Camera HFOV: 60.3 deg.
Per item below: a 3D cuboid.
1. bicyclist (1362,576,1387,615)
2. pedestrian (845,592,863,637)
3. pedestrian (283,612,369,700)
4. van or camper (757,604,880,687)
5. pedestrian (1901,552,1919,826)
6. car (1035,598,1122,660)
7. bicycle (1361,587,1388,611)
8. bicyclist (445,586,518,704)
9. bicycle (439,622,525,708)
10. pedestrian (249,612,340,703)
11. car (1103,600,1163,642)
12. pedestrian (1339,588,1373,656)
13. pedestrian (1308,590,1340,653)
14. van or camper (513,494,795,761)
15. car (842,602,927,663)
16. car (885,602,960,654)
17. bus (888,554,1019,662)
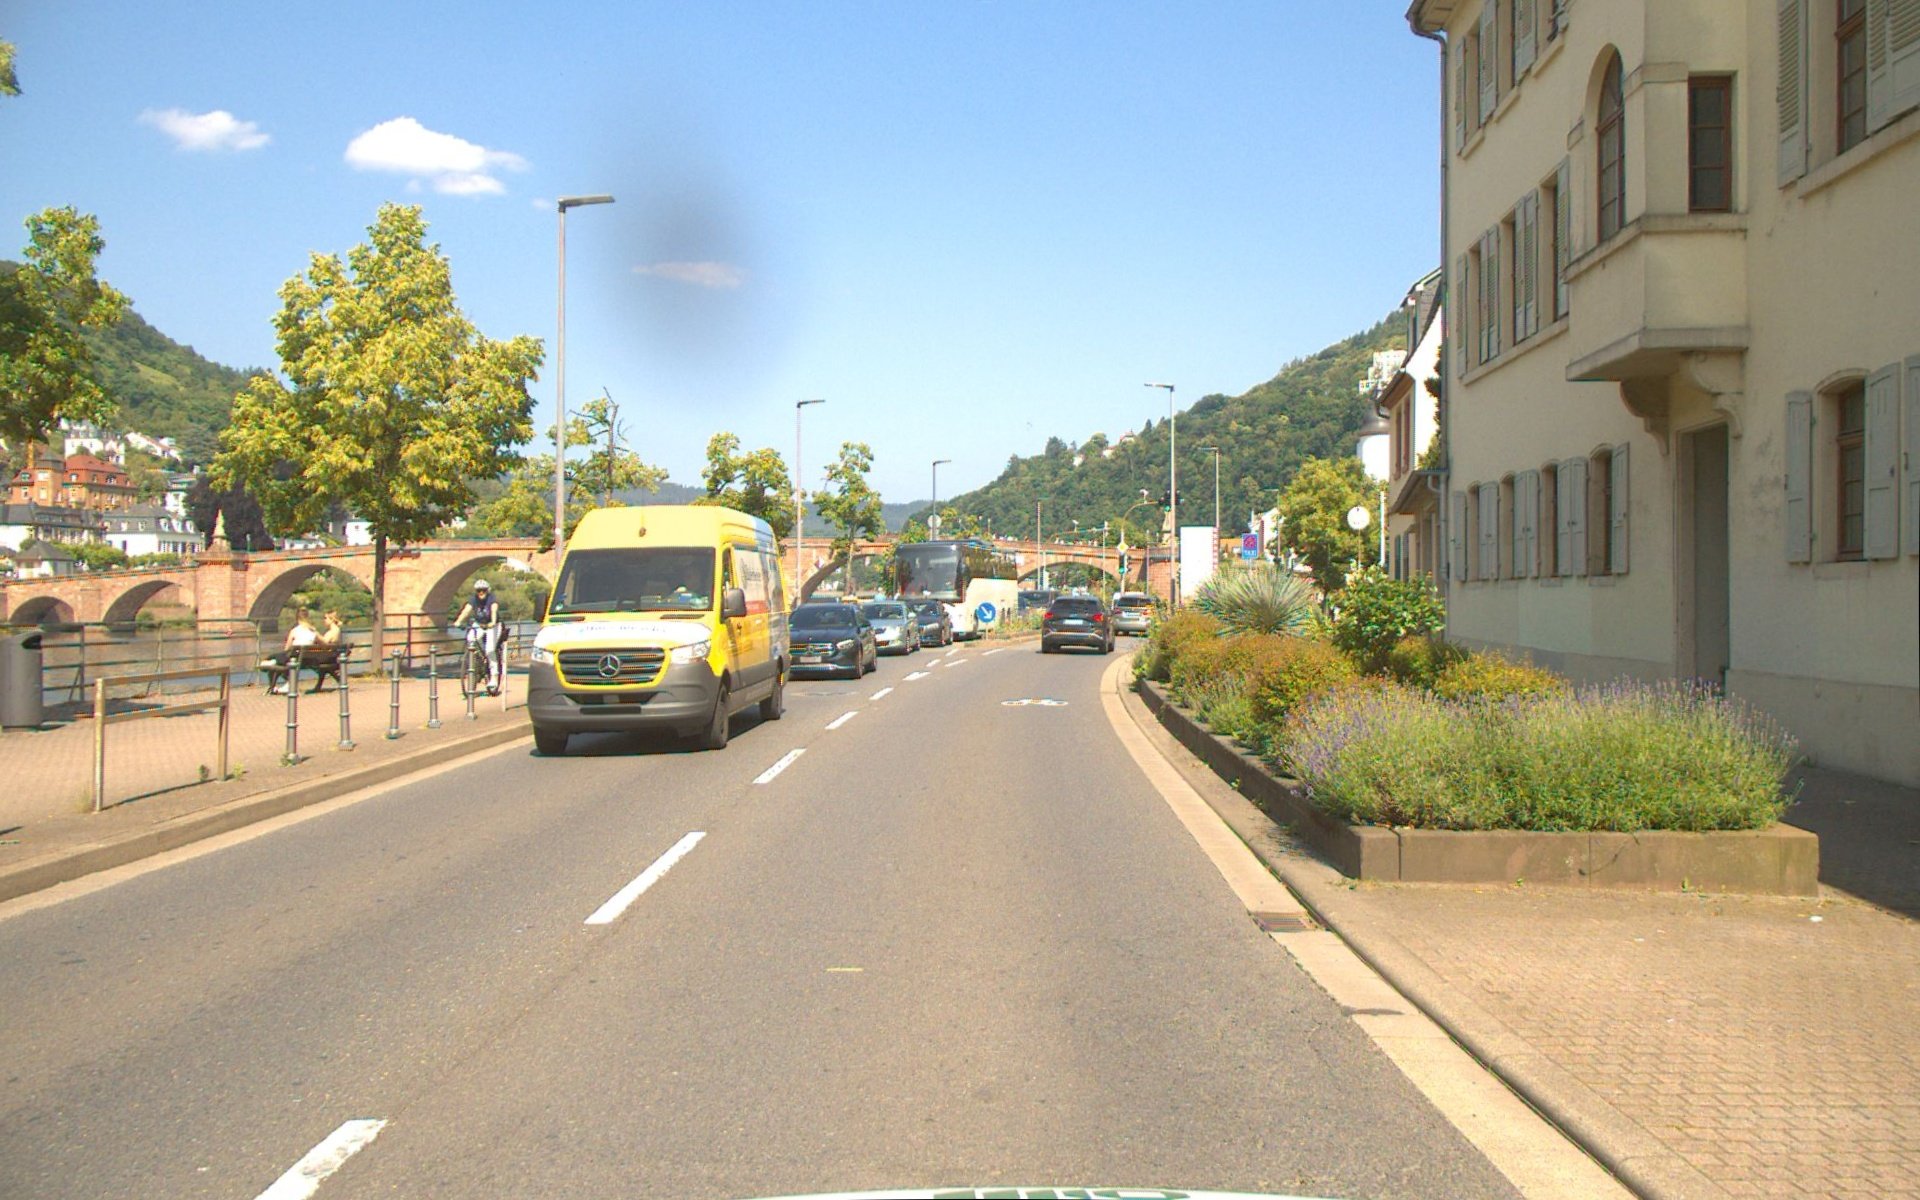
[{"bbox_3d":[17.320,-0.189,69.120,0.751,1.611,1.089,-1,0,1],"label":"bicyclist"},{"bbox_3d":[-4.282,0.589,67.026,0.607,1.811,0.662,-1,0,7],"label":"pedestrian"},{"bbox_3d":[-9.661,0.845,25.233,0.916,1.303,0.850,-1,0,8],"label":"pedestrian"},{"bbox_3d":[-2.821,0.879,33.951,1.952,1.480,4.683,-3,0,1],"label":"van or camper"},{"bbox_3d":[5.878,0.569,9.236,0.746,1.743,0.696,-4,-1,2],"label":"pedestrian"},{"bbox_3d":[3.307,0.753,45.489,1.885,1.580,4.836,1,0,10],"label":"car"},{"bbox_3d":[17.318,-0.051,69.098,0.734,0.981,1.782,0,0,1],"label":"bicycle"},{"bbox_3d":[-7.122,0.654,24.673,0.725,1.697,1.089,-1,0,1],"label":"bicyclist"},{"bbox_3d":[-7.115,0.943,24.686,0.697,1.189,1.896,0,1,1],"label":"bicycle"},{"bbox_3d":[-9.779,0.834,24.327,0.916,1.303,0.850,-1,0,8],"label":"pedestrian"},{"bbox_3d":[6.643,0.768,63.094,1.885,1.486,4.836,-1,0,10],"label":"car"},{"bbox_3d":[10.383,0.569,43.401,0.722,1.728,0.934,-2,0,7],"label":"pedestrian"},{"bbox_3d":[9.593,0.559,43.604,0.745,1.623,0.696,-1,0,7],"label":"pedestrian"},{"bbox_3d":[-3.353,0.277,19.758,2.044,2.602,7.091,0,0,0],"label":"van or camper"},{"bbox_3d":[-2.023,0.847,45.505,1.775,1.453,4.313,-3,1,4],"label":"car"},{"bbox_3d":[-1.113,0.829,51.258,1.778,1.454,4.196,-2,0,6],"label":"car"},{"bbox_3d":[-0.002,0.344,62.485,2.575,3.626,12.993,-1,-1,10],"label":"bus"}]
